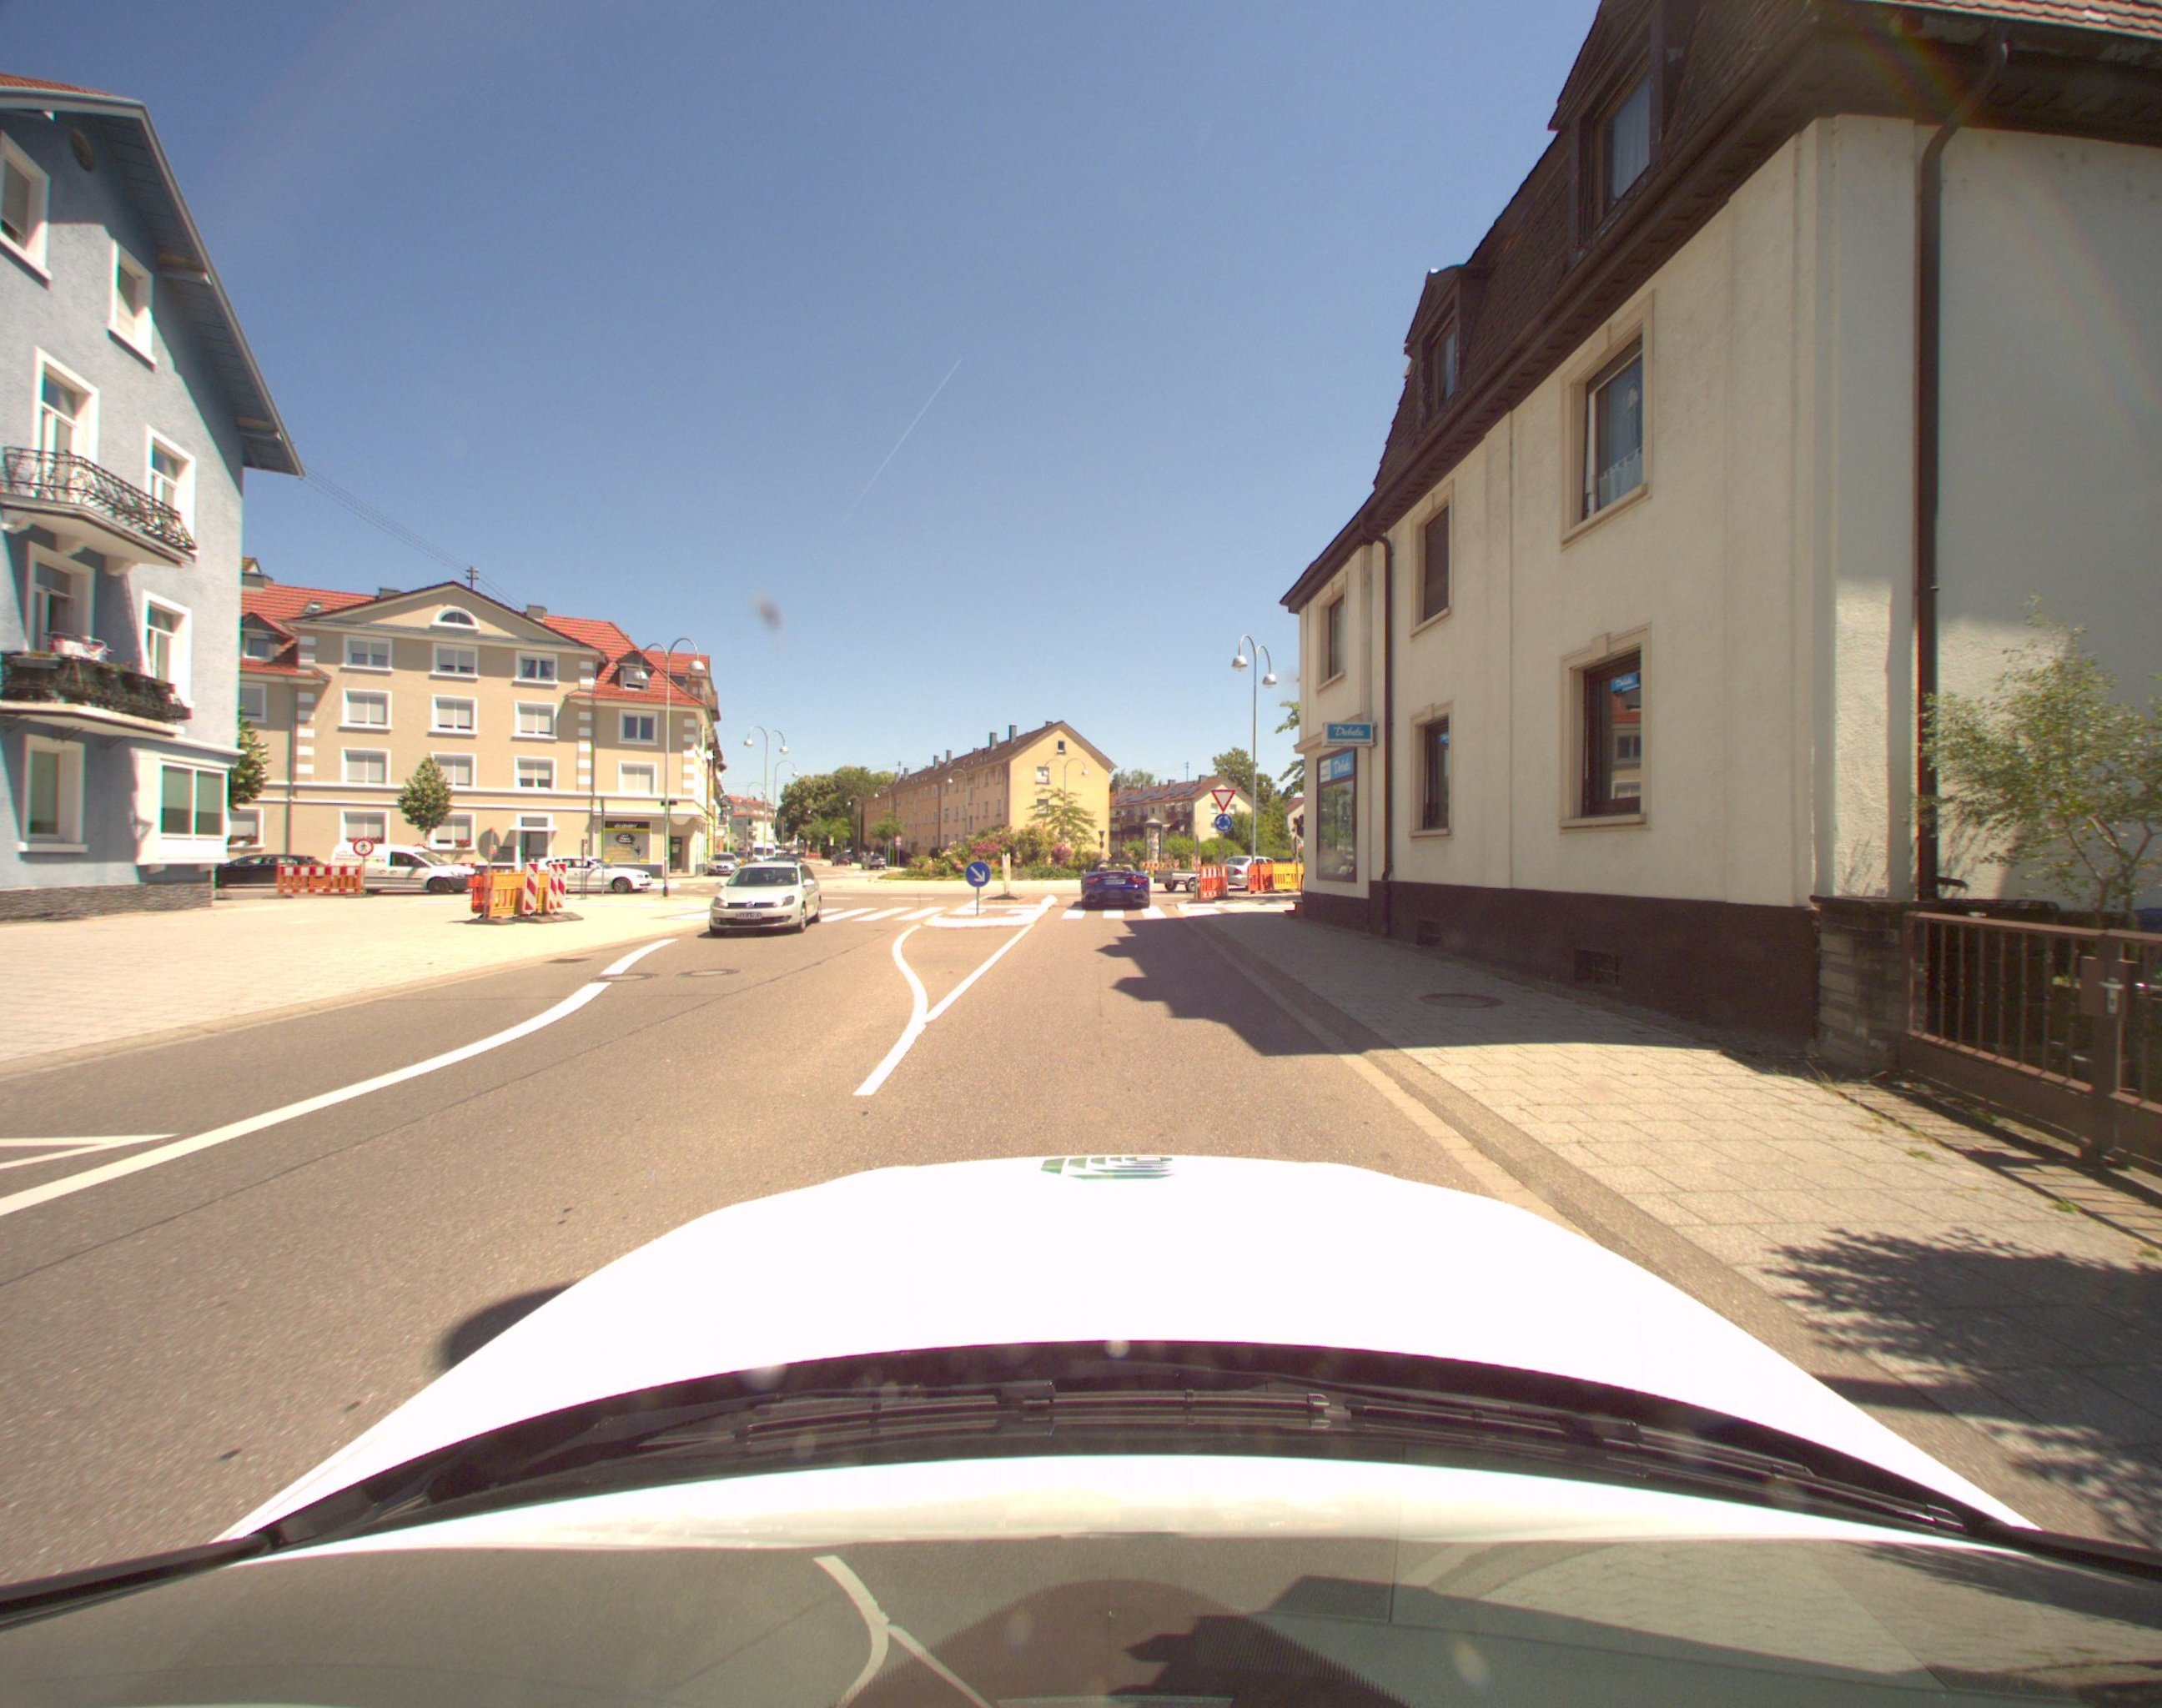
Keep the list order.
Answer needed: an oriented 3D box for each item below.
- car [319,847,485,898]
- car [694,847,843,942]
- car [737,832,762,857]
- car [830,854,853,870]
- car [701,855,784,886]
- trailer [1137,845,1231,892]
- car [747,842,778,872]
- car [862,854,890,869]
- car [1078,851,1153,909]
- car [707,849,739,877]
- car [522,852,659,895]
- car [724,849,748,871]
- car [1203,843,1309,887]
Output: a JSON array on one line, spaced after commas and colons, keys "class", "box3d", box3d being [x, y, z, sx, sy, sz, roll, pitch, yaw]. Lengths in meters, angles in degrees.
[{"class": "car", "box3d": [-24.600, 0.669, 29.685, 4.240, 1.777, 1.771, 1, 0, -18]}, {"class": "car", "box3d": [-6.597, 0.741, 17.739, 1.836, 1.529, 4.384, -6, 2, -6]}, {"class": "car", "box3d": [-36.172, -0.973, 88.778, 2.155, 2.533, 4.815, 2, -1, -25]}, {"class": "car", "box3d": [-28.628, 0.927, 97.292, 1.823, 1.794, 3.964, 2, -1, -28]}, {"class": "car", "box3d": [-18.360, 0.860, 44.167, 3.978, 1.451, 1.673, 1, 4, 18]}, {"class": "trailer", "box3d": [4.001, 0.527, 31.635, 3.207, 1.717, 1.740, -1, 0, -30]}, {"class": "car", "box3d": [-28.877, 0.274, 73.778, 2.155, 2.533, 6.186, 2, -1, -25]}, {"class": "car", "box3d": [-20.910, 0.759, 83.014, 1.823, 1.500, 3.964, 2, -1, -28]}, {"class": "car", "box3d": [0.906, 0.750, 23.713, 1.865, 1.530, 4.503, 0, -2, -1]}, {"class": "car", "box3d": [-22.926, 0.552, 52.234, 1.783, 1.686, 4.659, 1, 0, -23]}, {"class": "car", "box3d": [-18.794, 0.744, 31.397, 4.117, 1.551, 1.780, 1, -1, -12]}, {"class": "car", "box3d": [-26.918, 0.455, 63.530, 1.605, 1.617, 4.061, 3, -1, -22]}, {"class": "car", "box3d": [7.228, 0.424, 33.547, 4.141, 1.747, 1.770, 0, 0, -30]}]
